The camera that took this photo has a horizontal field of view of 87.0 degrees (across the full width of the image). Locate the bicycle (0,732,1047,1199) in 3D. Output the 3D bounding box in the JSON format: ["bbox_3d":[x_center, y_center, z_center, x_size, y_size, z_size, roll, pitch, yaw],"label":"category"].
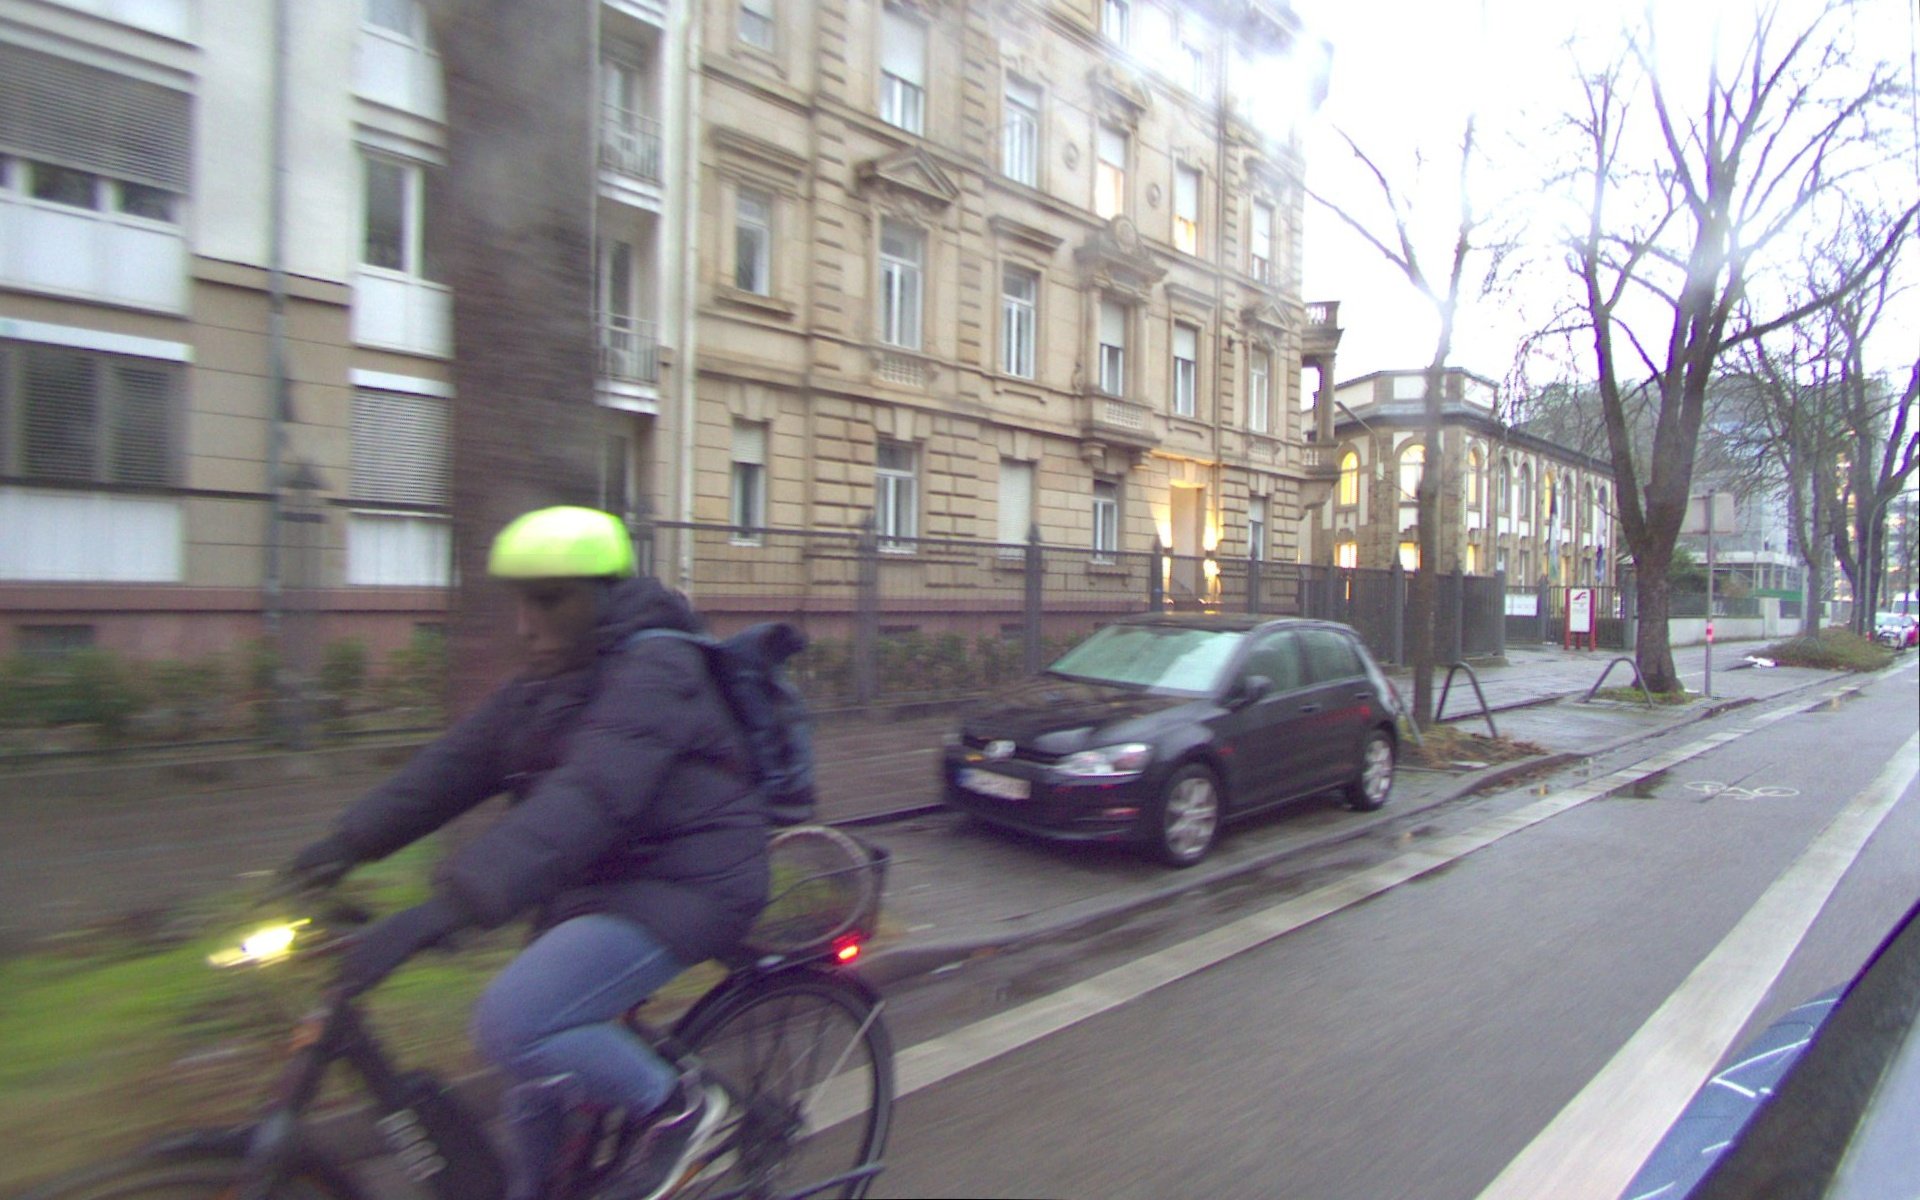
[{"bbox_3d":[-0.708,0.930,1.946,0.716,1.126,1.911,-1,-1,43],"label":"bicycle"}]

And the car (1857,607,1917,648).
[{"bbox_3d":[36.068,1.028,39.350,1.624,1.425,3.936,0,0,44],"label":"car"}]

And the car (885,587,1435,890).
[{"bbox_3d":[1.627,0.721,7.181,4.088,1.463,1.760,1,2,-44],"label":"car"}]

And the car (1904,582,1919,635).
[{"bbox_3d":[50.595,0.393,52.638,2.088,2.670,5.362,0,0,44],"label":"car"}]

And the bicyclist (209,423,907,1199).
[{"bbox_3d":[-0.721,0.618,1.934,0.717,1.684,1.040,-1,-2,44],"label":"bicyclist"}]

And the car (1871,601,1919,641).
[{"bbox_3d":[43.199,0.931,46.396,1.994,1.703,3.936,0,0,44],"label":"car"}]
